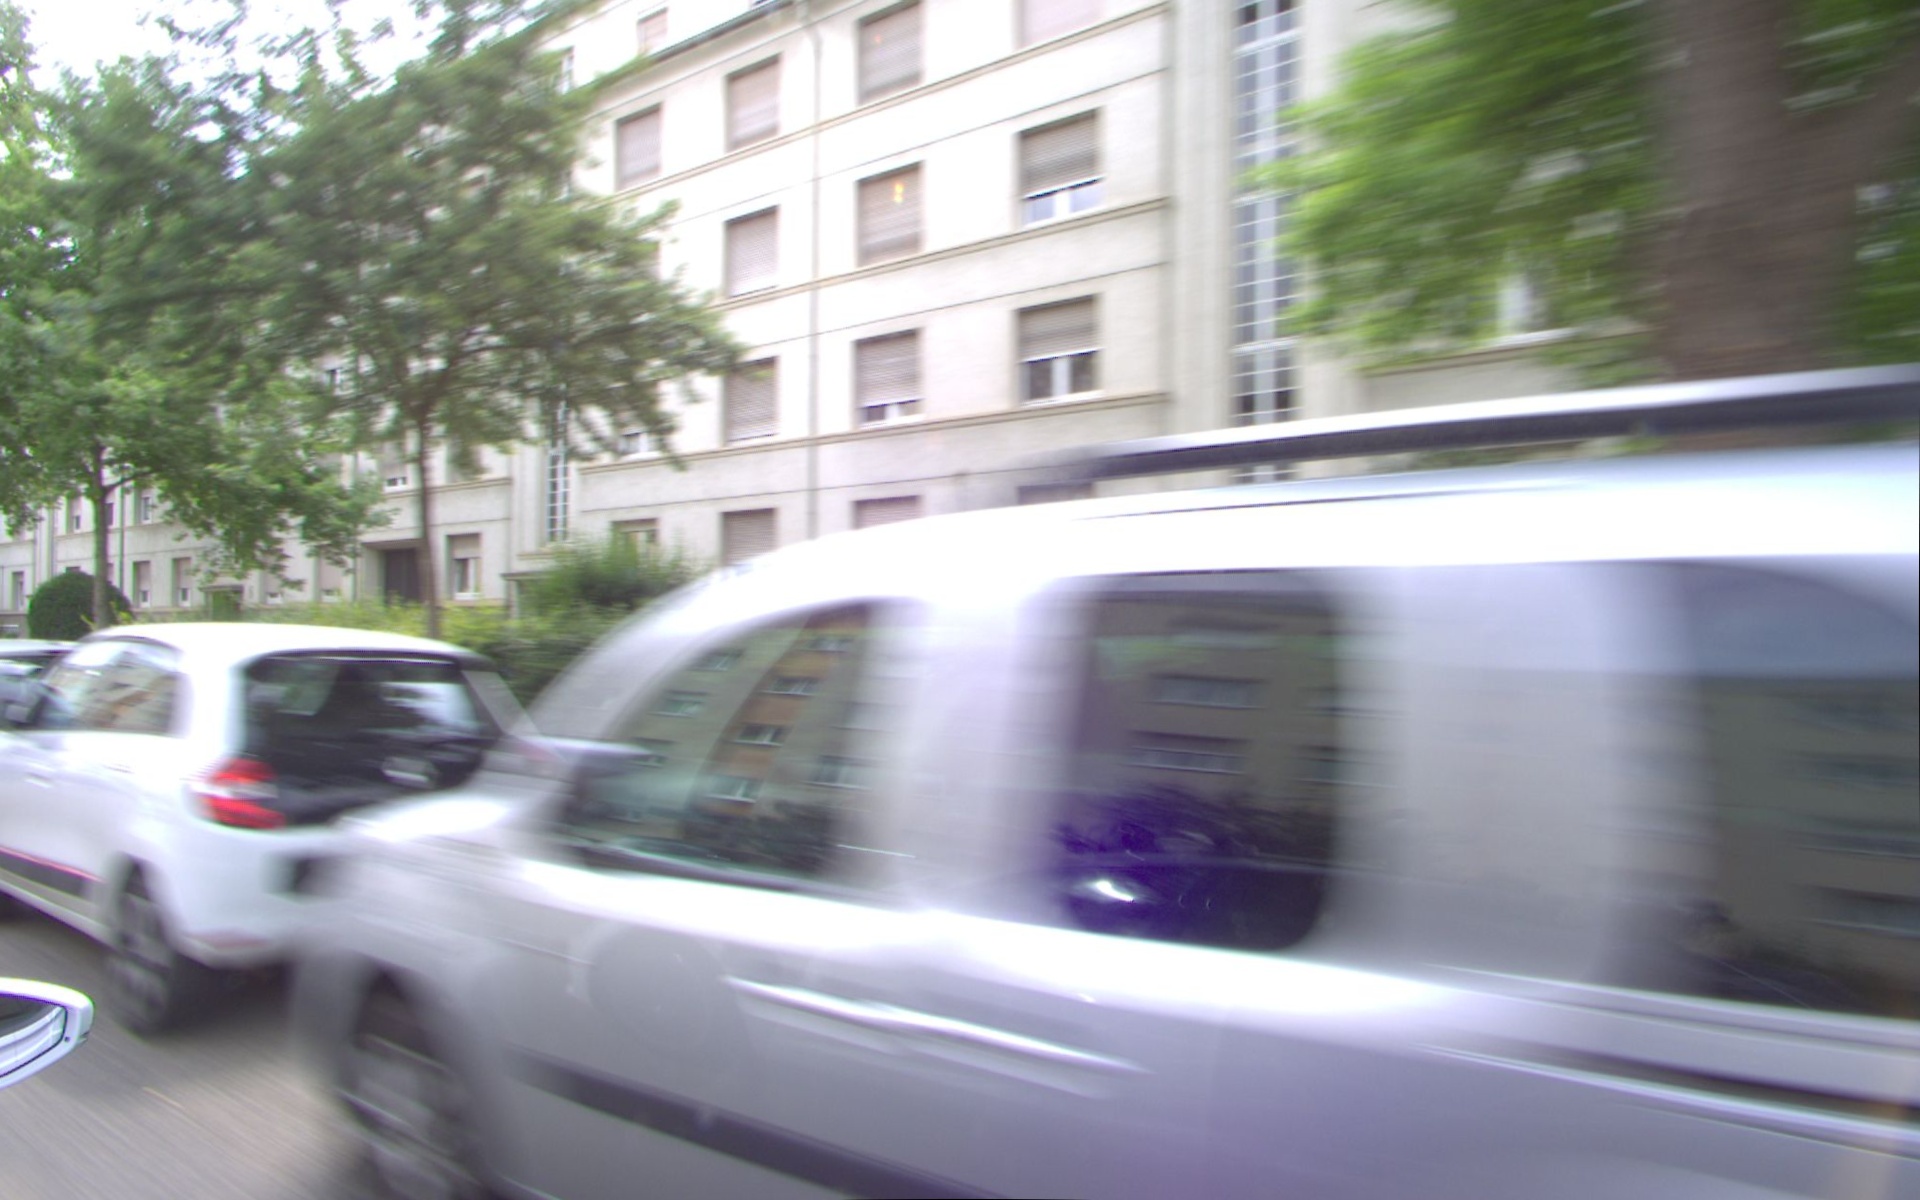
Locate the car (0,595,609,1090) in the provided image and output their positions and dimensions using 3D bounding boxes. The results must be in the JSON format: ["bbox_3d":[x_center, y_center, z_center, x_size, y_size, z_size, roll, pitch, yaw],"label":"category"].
[{"bbox_3d":[-3.651,0.867,5.052,3.752,1.627,1.602,-1,-4,34],"label":"car"}]

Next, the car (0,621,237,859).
[{"bbox_3d":[-7.427,0.897,7.606,4.041,1.468,1.695,0,-2,31],"label":"car"}]

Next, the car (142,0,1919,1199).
[{"bbox_3d":[0.008,0.453,2.550,4.780,1.888,1.914,-1,-3,34],"label":"car"}]
